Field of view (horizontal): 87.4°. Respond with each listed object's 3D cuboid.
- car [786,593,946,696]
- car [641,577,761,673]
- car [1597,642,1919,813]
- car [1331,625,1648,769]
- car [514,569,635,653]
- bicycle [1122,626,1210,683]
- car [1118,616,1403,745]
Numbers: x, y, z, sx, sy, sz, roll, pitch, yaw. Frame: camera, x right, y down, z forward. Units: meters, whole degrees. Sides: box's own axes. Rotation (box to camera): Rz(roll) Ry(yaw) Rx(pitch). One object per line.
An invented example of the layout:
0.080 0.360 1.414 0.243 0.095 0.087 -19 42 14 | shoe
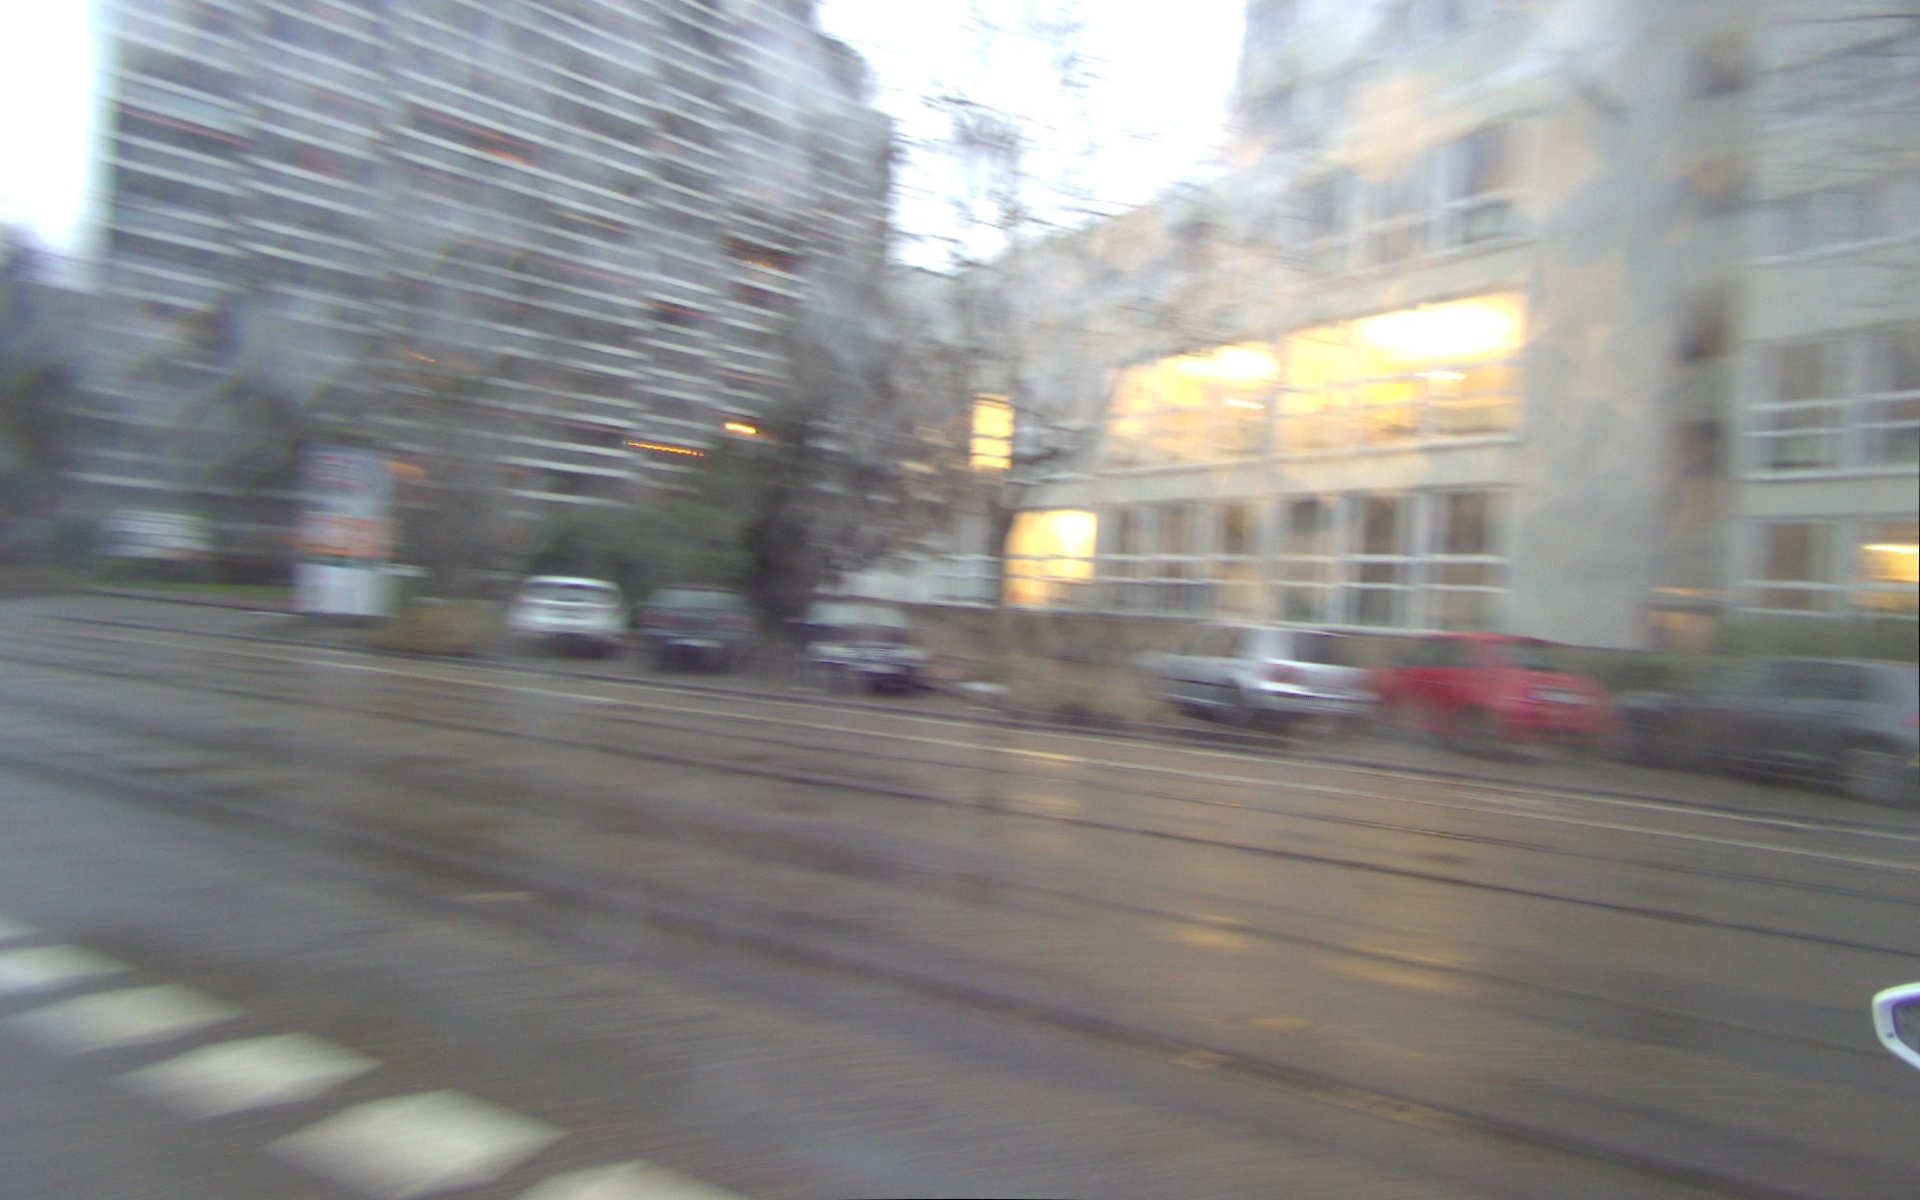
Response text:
-1.653 0.656 16.273 1.826 1.397 3.986 3 -1 -16 | car
-4.765 0.423 18.336 1.826 1.482 3.986 3 -1 -16 | car
9.536 1.333 11.254 1.669 1.512 3.838 3 -1 -18 | car
6.653 1.157 13.039 1.701 1.512 3.439 3 -1 -16 | car
-7.532 0.219 19.975 1.826 1.418 3.986 3 -1 -16 | car
4.431 1.181 21.514 2.190 1.135 0.634 4 -1 -42 | bicycle
4.010 1.033 14.134 1.766 1.465 3.981 3 -1 -20 | car
